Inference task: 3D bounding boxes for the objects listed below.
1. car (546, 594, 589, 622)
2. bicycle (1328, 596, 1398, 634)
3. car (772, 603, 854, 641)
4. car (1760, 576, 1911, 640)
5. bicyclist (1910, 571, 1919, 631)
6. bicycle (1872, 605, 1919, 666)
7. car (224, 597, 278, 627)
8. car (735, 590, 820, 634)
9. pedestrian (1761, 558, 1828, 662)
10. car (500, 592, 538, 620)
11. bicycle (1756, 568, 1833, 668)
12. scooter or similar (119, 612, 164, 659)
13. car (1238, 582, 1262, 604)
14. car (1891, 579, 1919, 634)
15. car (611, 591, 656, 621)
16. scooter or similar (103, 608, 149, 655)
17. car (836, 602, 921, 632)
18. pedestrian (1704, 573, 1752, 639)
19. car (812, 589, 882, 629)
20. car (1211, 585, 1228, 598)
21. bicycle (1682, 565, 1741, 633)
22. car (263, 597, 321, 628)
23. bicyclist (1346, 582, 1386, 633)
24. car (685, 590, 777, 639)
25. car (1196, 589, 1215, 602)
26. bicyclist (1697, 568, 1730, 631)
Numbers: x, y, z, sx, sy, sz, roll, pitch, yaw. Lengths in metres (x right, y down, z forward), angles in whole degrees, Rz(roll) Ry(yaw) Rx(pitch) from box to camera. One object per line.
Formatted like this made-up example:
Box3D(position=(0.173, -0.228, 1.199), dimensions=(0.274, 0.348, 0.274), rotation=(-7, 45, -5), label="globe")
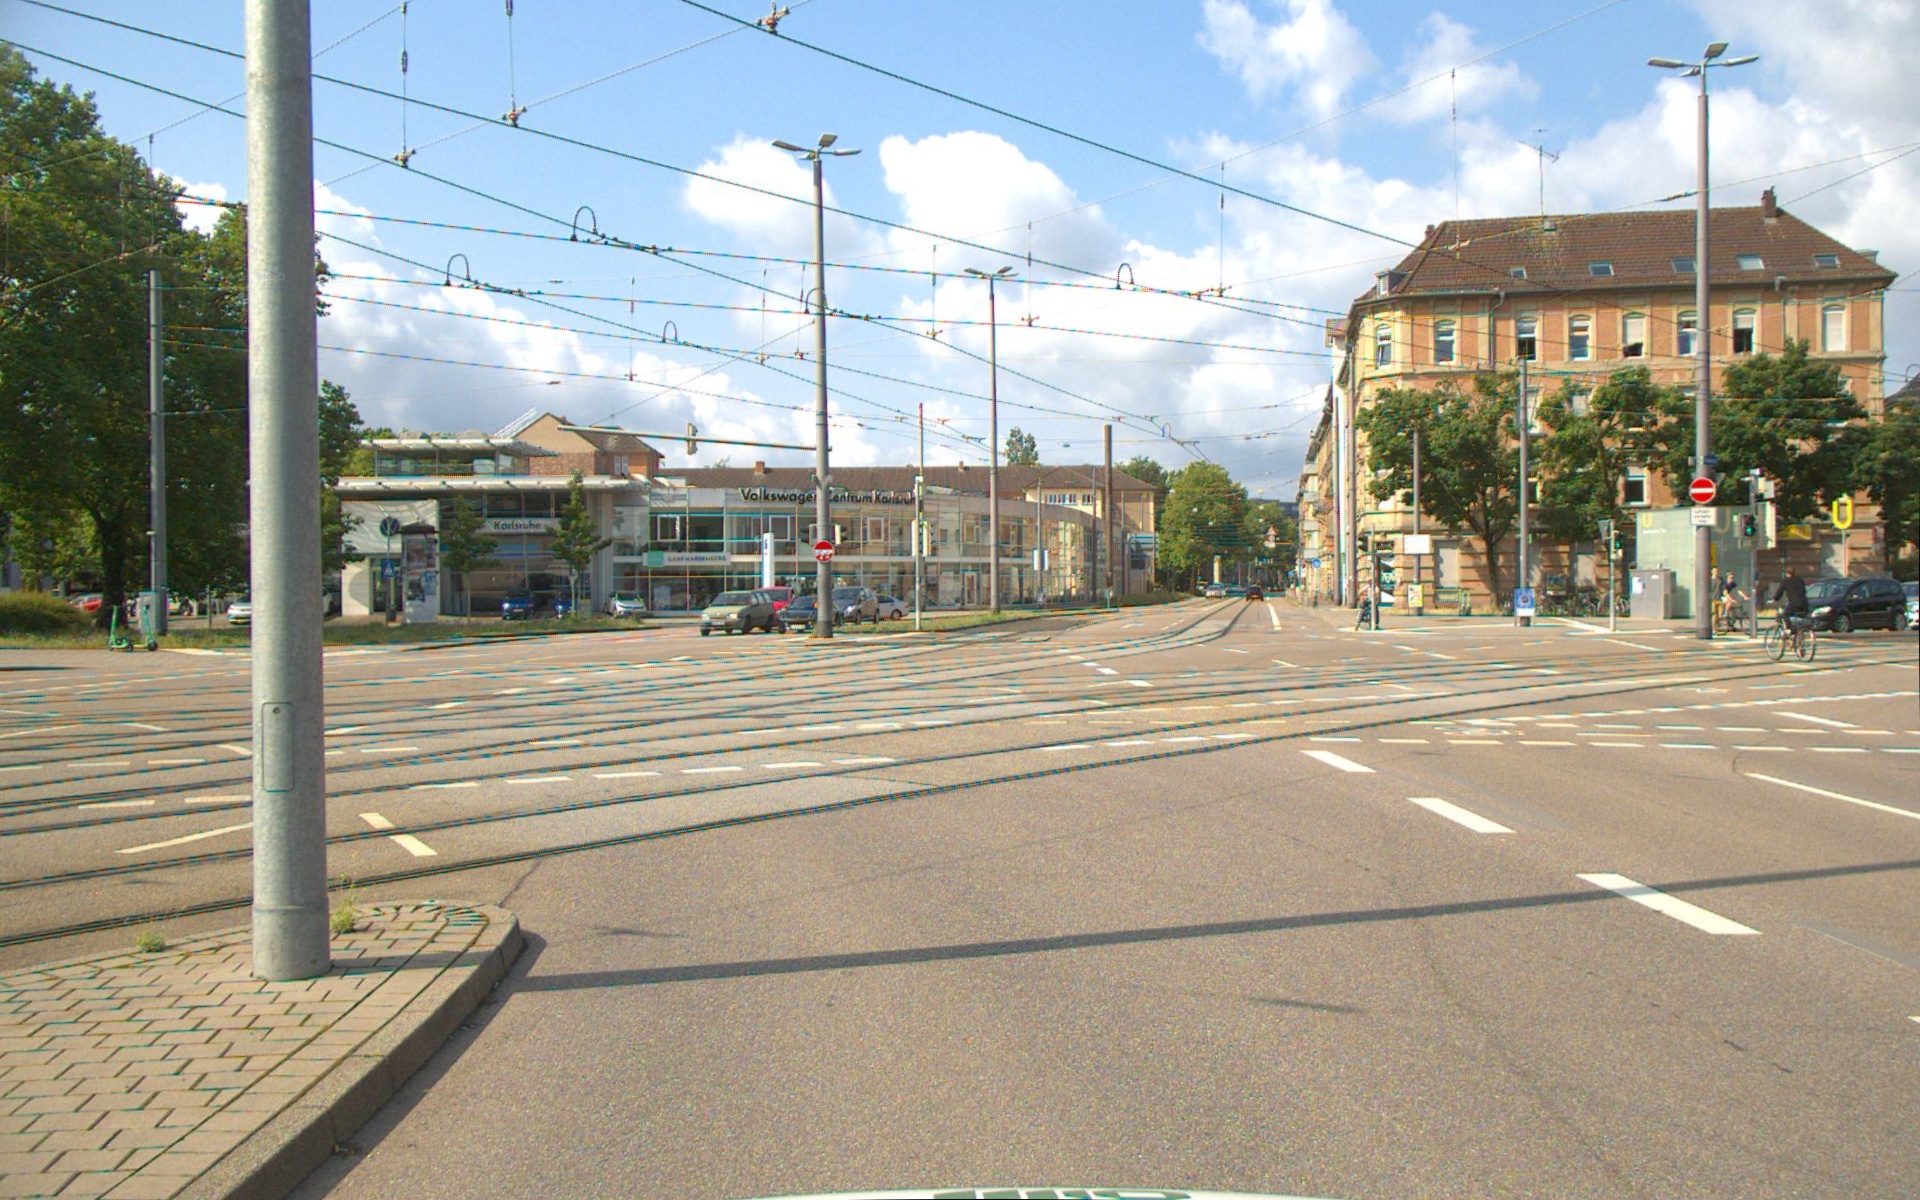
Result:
Box3D(position=(-21.314, 0.429, 89.931), dimensions=(1.884, 1.470, 3.992), rotation=(0, 0, -9), label="car")
Box3D(position=(13.746, 0.505, 56.387), dimensions=(2.654, 1.191, 0.888), rotation=(-2, 1, -39), label="bicycle")
Box3D(position=(-4.790, 0.693, 54.329), dimensions=(1.586, 1.182, 4.003), rotation=(1, 0, 11), label="car")
Box3D(position=(25.321, 0.236, 47.797), dimensions=(4.284, 1.770, 1.979), rotation=(1, 0, -32), label="car")
Box3D(position=(17.246, 0.015, 28.548), dimensions=(0.971, 1.046, 1.214), rotation=(2, -3, -5), label="bicyclist")
Box3D(position=(17.225, 0.615, 28.642), dimensions=(0.973, 1.045, 3.106), rotation=(2, -2, -5), label="bicycle")
Box3D(position=(-38.415, 0.644, 89.687), dimensions=(1.959, 1.601, 3.988), rotation=(1, 0, -12), label="car")
Box3D(position=(-6.696, 0.441, 61.080), dimensions=(1.951, 1.545, 4.003), rotation=(1, 0, 11), label="car")
Box3D(position=(15.286, 0.172, 30.321), dimensions=(0.972, 1.873, 0.996), rotation=(0, 0, 21), label="pedestrian")
Box3D(position=(-23.967, 0.334, 90.050), dimensions=(1.887, 1.470, 3.986), rotation=(0, 0, -14), label="car")
Box3D(position=(15.336, 0.322, 30.463), dimensions=(0.985, 1.755, 2.469), rotation=(0, 0, 21), label="bicycle")
Box3D(position=(-21.096, 0.918, 42.634), dimensions=(0.373, 1.177, 0.927), rotation=(4, 1, 30), label="scooter or similar")
Box3D(position=(28.014, -0.704, 159.712), dimensions=(1.951, 2.049, 4.003), rotation=(0, 0, 14), label="car")
Box3D(position=(30.948, 0.147, 50.953), dimensions=(4.623, 1.623, 1.979), rotation=(-2, 1, -31), label="car")
Box3D(position=(-18.168, 0.312, 92.116), dimensions=(1.881, 1.579, 3.998), rotation=(0, 0, -3), label="car")
Box3D(position=(-21.619, 0.824, 42.871), dimensions=(0.375, 1.177, 0.924), rotation=(5, 1, 41), label="scooter or similar")
Box3D(position=(-4.157, 0.852, 84.758), dimensions=(1.749, 1.489, 4.456), rotation=(0, 0, 41), label="car")
Box3D(position=(21.583, 0.172, 46.501), dimensions=(0.851, 1.841, 0.883), rotation=(1, 0, -16), label="pedestrian")
Box3D(position=(-4.656, 0.355, 68.581), dimensions=(1.951, 1.579, 4.004), rotation=(0, 0, 11), label="car")
Box3D(position=(31.245, -1.075, 199.192), dimensions=(1.951, 1.517, 4.003), rotation=(0, 0, 8), label="car")
Box3D(position=(20.588, -0.024, 45.328), dimensions=(0.715, 1.808, 1.634), rotation=(1, 0, -7), label="bicycle")
Box3D(position=(-36.173, 0.663, 89.668), dimensions=(2.029, 1.632, 3.993), rotation=(0, 0, -8), label="car")
Box3D(position=(13.870, 0.243, 56.478), dimensions=(1.186, 1.687, 0.775), rotation=(-1, 1, -39), label="bicyclist")
Box3D(position=(-7.535, 0.468, 54.793), dimensions=(1.781, 1.539, 4.003), rotation=(1, 0, 11), label="car")
Box3D(position=(27.469, -0.505, 185.277), dimensions=(1.951, 1.355, 4.003), rotation=(0, 0, 7), label="car")
Box3D(position=(20.611, -0.011, 45.234), dimensions=(0.561, 1.700, 0.655), rotation=(1, 0, -7), label="bicyclist")
